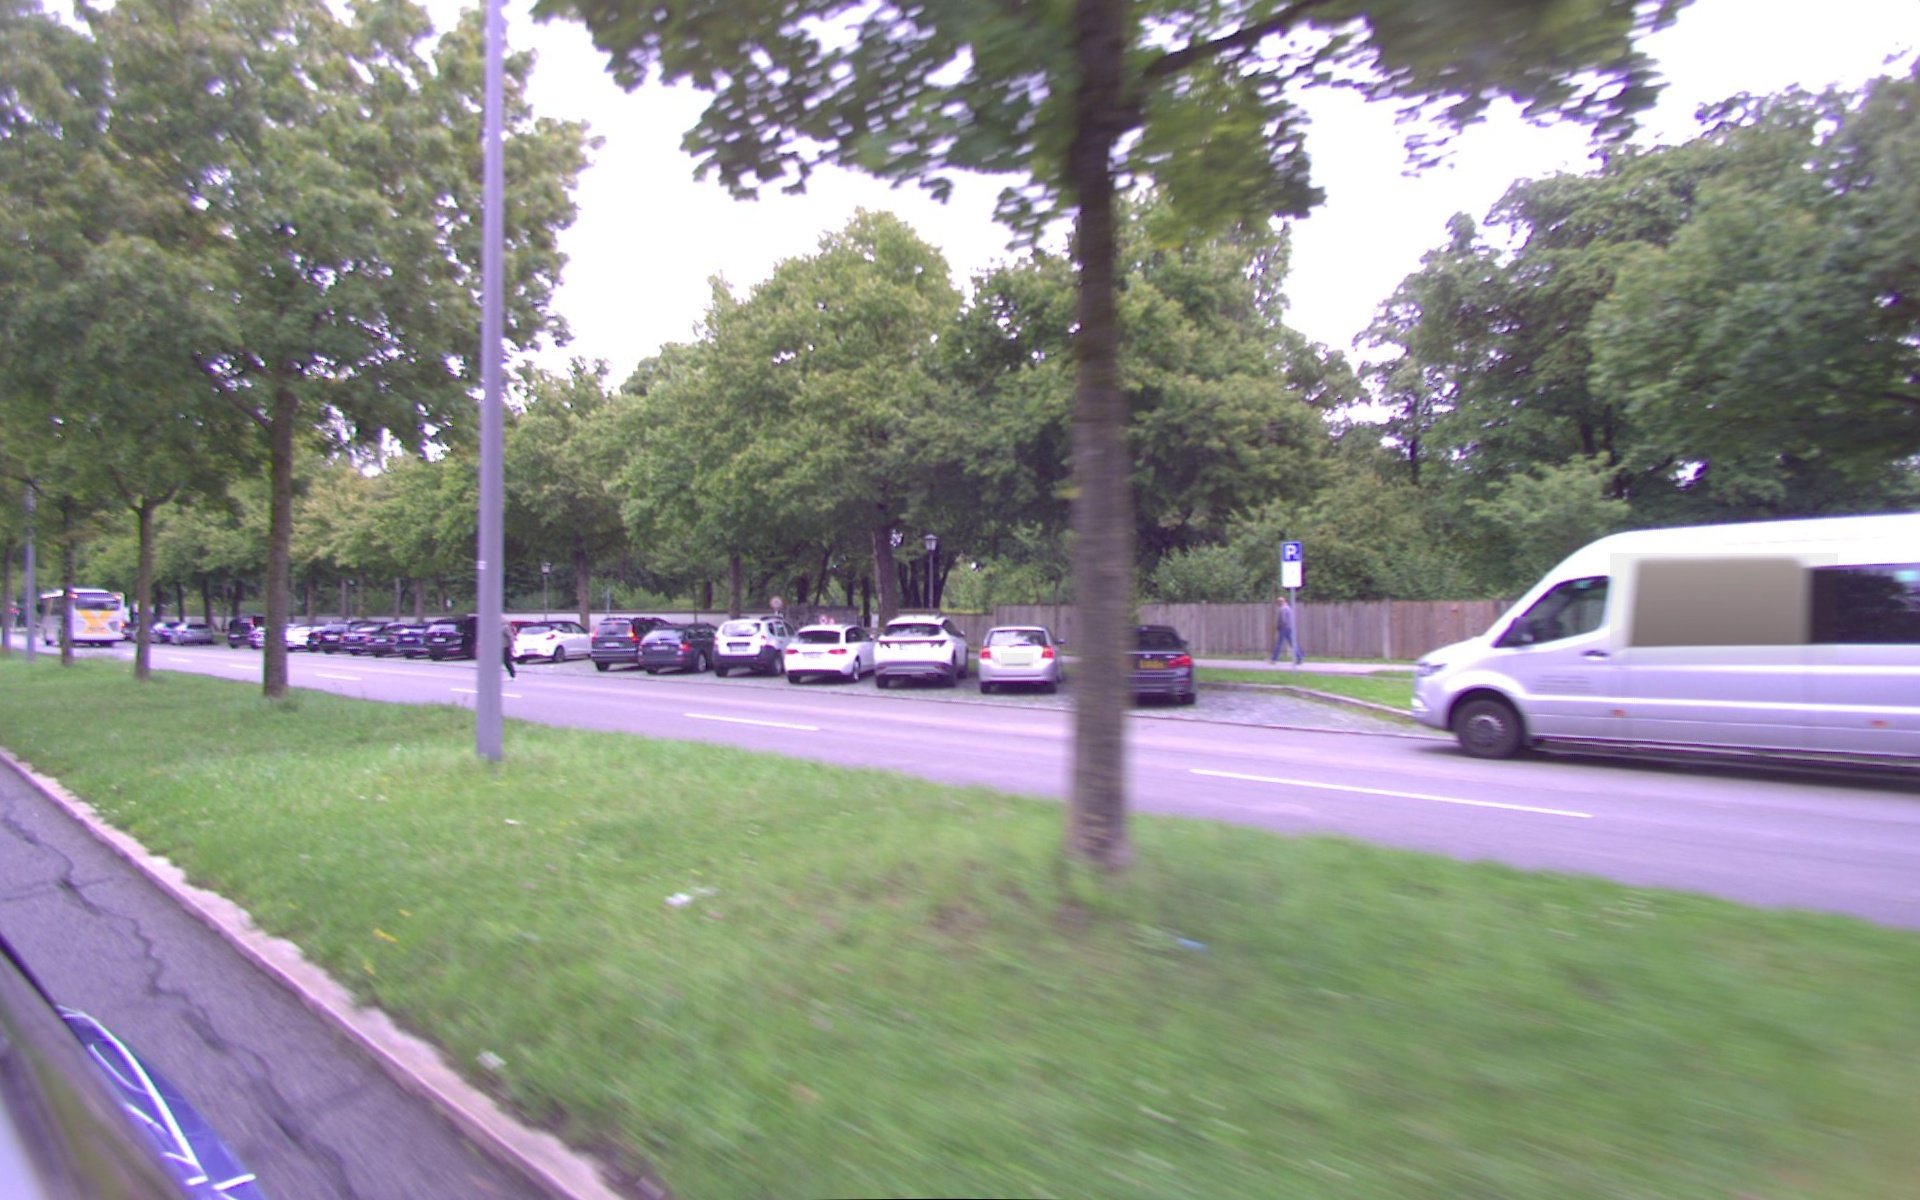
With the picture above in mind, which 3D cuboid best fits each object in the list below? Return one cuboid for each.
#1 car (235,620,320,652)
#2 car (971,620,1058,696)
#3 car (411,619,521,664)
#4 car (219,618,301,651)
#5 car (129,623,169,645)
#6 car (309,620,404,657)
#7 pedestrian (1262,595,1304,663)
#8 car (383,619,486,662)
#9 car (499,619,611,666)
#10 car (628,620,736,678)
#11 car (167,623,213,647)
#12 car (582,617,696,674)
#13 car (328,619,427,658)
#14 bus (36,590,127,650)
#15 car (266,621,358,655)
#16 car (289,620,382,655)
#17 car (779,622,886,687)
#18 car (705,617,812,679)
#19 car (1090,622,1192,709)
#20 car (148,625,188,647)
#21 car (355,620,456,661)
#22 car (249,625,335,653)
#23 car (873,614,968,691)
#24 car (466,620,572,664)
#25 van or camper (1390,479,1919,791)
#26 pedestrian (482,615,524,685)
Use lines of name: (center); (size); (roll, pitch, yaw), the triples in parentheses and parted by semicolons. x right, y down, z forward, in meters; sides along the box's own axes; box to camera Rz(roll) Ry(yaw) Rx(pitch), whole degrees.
car: (-38.625, 2.005, 57.383); (1.869, 1.654, 3.991); (-1, 0, 7)
car: (1.285, 1.227, 22.828); (1.779, 1.477, 3.994); (-1, 0, 5)
car: (-19.886, 1.650, 40.901); (1.873, 1.569, 3.983); (-2, 0, 14)
car: (-40.977, 1.989, 59.364); (1.760, 1.741, 3.991); (-1, 0, 7)
car: (-59.070, 2.461, 73.672); (1.864, 1.454, 4.171); (-1, 0, -44)
car: (-29.311, 1.850, 49.293); (1.870, 1.569, 3.989); (-2, 0, 9)
pedestrian: (8.714, 0.781, 27.281); (0.873, 1.781, 0.761); (-1, -2, 38)
car: (-22.119, 1.671, 42.774); (1.870, 1.569, 3.989); (-2, 0, 9)
car: (-14.886, 1.547, 37.455); (1.873, 1.474, 3.983); (-2, 0, 14)
car: (-8.356, 1.447, 30.810); (1.780, 1.497, 3.992); (-2, 0, 7)
car: (-50.062, 2.240, 65.783); (1.864, 1.454, 4.171); (-1, 0, -44)
car: (-10.386, 1.444, 33.035); (1.783, 1.599, 3.984); (-2, 0, 12)
car: (-26.868, 1.757, 46.811); (1.870, 1.569, 3.989); (-2, 0, 9)
bus: (-52.912, 1.198, 60.795); (11.924, 3.323, 2.640); (-1, -3, 42)
car: (-33.669, 1.955, 52.716); (1.870, 1.569, 3.989); (-2, 0, 9)
car: (-31.604, 1.871, 51.336); (1.870, 1.569, 3.989); (-2, 0, 9)
car: (-3.211, 1.348, 26.399); (1.780, 1.449, 4.315); (-1, 0, 7)
car: (-5.706, 1.330, 29.206); (1.780, 1.585, 4.315); (-1, 0, 7)
car: (3.591, 1.201, 19.922); (1.783, 1.445, 3.985); (-1, 0, 11)
car: (-54.725, 2.459, 69.927); (1.717, 1.381, 4.171); (-1, 0, -44)
car: (-24.568, 1.757, 44.995); (1.870, 1.569, 3.989); (-2, 0, 9)
car: (-36.121, 2.080, 54.859); (1.575, 1.376, 3.986); (-1, 0, 11)
car: (-0.865, 1.206, 24.477); (1.779, 1.635, 3.993); (-1, 0, 5)
car: (-17.130, 1.608, 39.519); (1.723, 1.466, 3.983); (-2, 0, 14)
van or camper: (8.756, 0.367, 10.652); (7.544, 2.859, 2.013); (-1, -3, 42)
pedestrian: (-11.543, 1.253, 25.558); (0.859, 1.711, 0.773); (2, -1, -28)
